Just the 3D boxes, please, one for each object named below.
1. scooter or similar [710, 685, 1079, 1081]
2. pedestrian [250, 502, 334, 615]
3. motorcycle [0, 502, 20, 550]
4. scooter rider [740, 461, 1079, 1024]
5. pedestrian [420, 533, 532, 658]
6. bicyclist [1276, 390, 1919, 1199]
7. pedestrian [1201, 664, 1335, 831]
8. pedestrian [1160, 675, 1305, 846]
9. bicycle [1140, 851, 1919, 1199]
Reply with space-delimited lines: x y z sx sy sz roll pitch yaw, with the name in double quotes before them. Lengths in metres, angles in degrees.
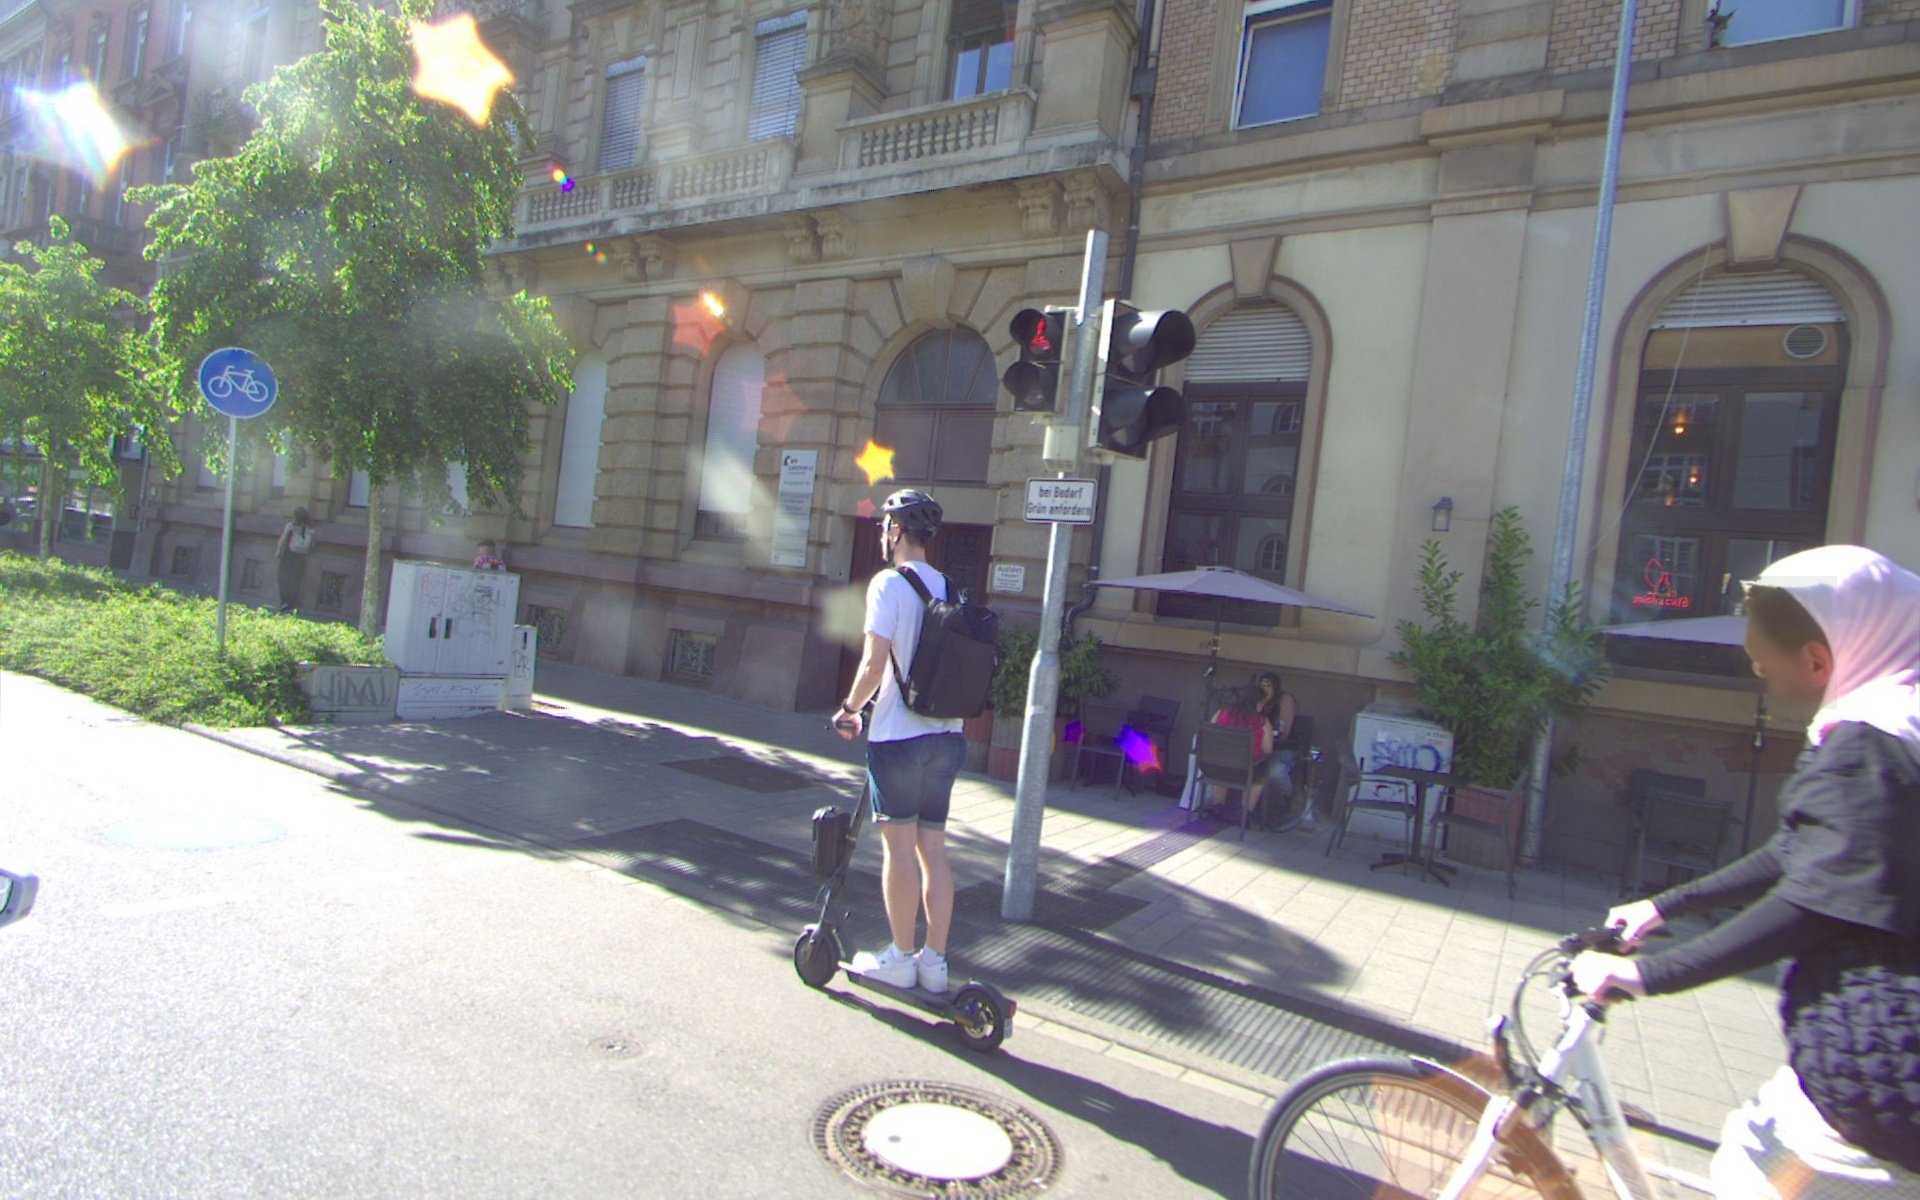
"scooter or similar" -0.246 0.997 3.908 1.130 1.172 0.647 7 -1 26
"pedestrian" -12.348 -0.765 18.595 1.081 1.945 0.889 7 2 37
"motorcycle" -28.024 -2.204 28.751 2.932 1.281 0.867 6 -2 32
"scooter rider" -0.179 0.485 3.913 0.882 1.888 0.663 7 -1 27
"pedestrian" -7.192 -0.055 14.952 1.096 1.714 0.969 6 2 33
"bicyclist" 1.258 0.652 1.751 1.074 1.839 0.723 7 -1 37
"pedestrian" 2.744 1.278 8.951 0.873 1.298 0.726 6 0 31
"pedestrian" 2.219 1.261 8.169 0.867 1.197 0.718 6 0 31
"bicycle" 1.338 1.186 1.679 1.923 1.018 0.723 6 -2 38
